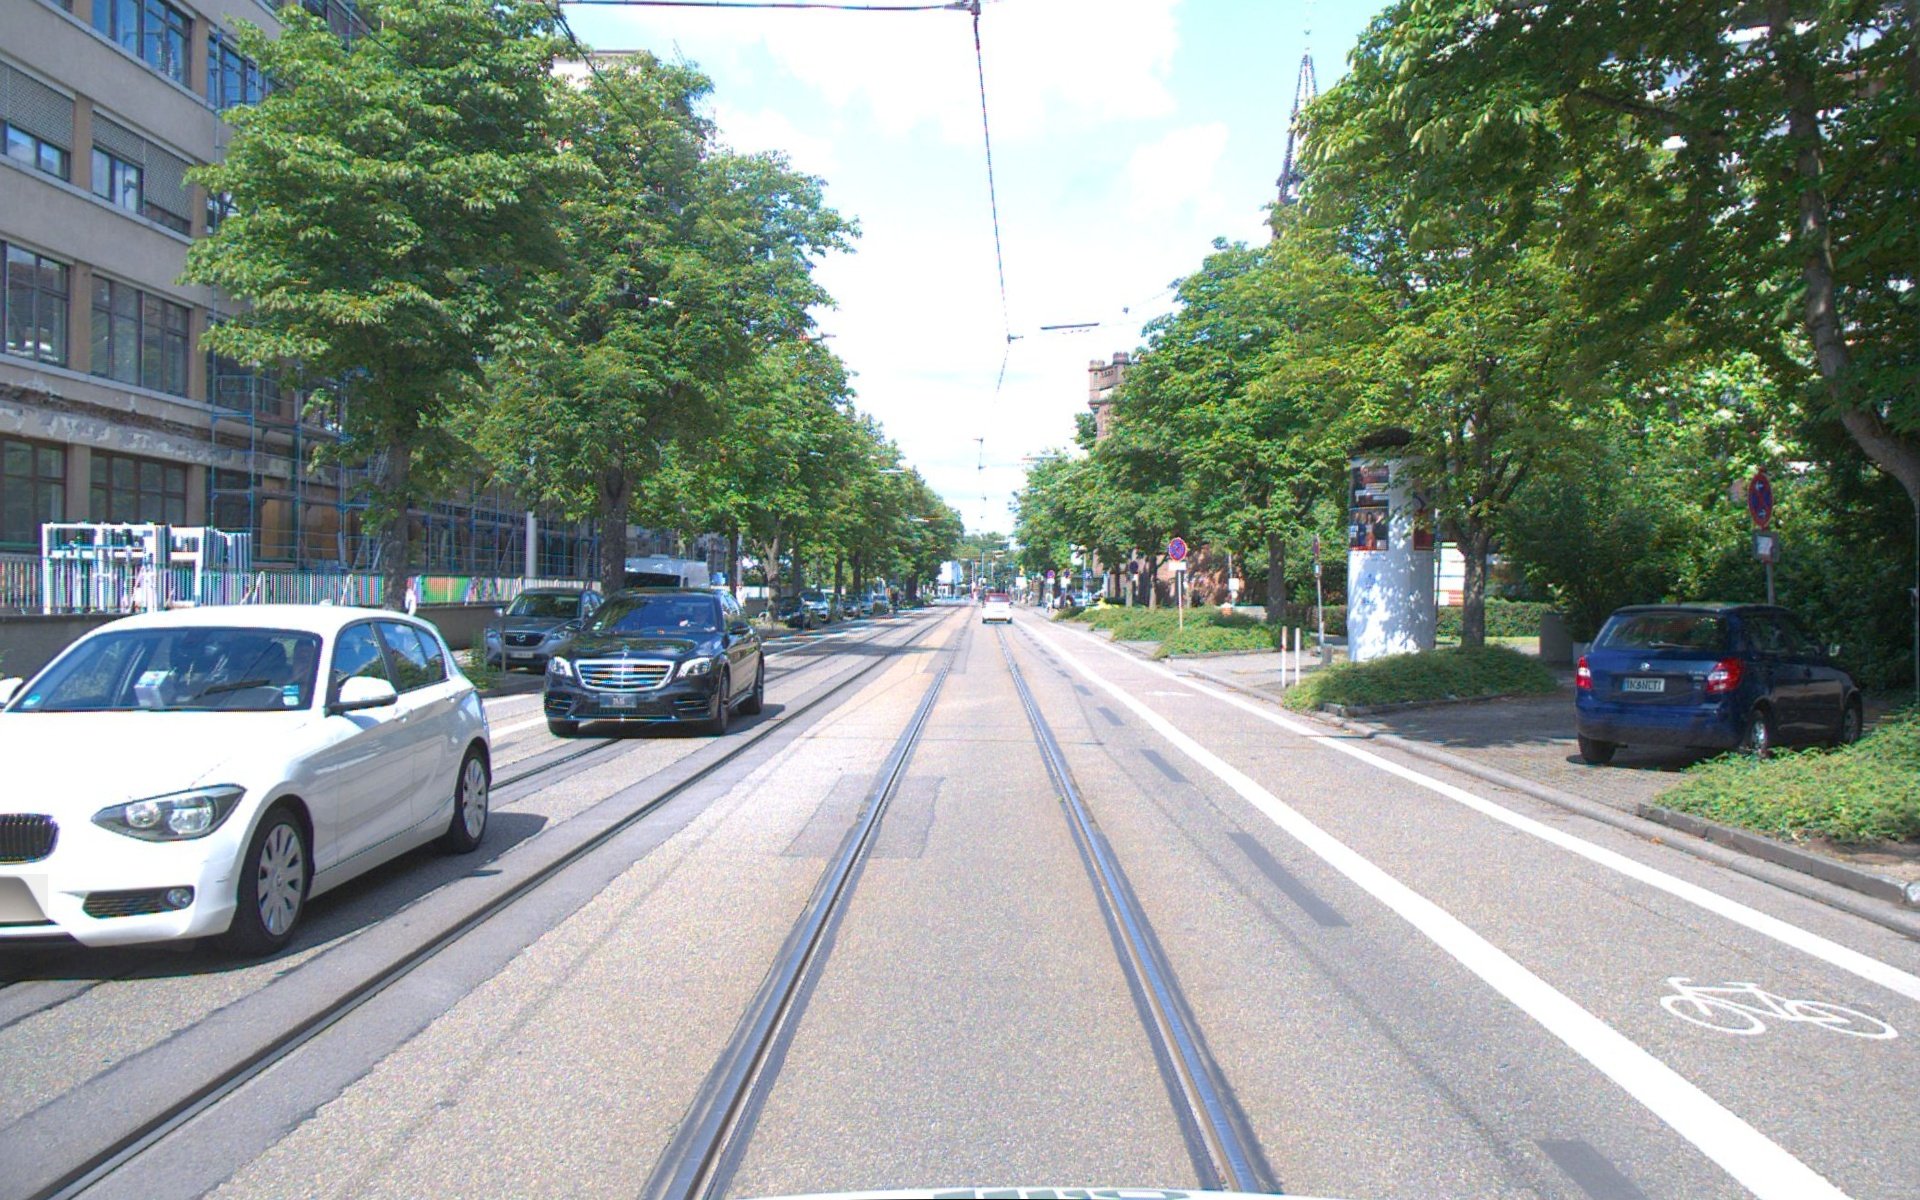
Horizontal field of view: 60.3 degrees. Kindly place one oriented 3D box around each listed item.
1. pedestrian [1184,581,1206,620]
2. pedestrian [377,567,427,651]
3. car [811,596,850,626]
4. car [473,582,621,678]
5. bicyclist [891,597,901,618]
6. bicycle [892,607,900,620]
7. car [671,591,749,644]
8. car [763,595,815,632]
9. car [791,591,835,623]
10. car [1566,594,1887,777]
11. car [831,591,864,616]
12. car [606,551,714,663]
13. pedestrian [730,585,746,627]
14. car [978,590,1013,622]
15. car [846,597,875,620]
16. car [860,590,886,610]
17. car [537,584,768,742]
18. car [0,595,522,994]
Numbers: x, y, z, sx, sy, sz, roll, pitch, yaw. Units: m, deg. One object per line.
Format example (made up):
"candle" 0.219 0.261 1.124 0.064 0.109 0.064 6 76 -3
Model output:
"pedestrian" 12.672 0.015 89.028 0.957 2.049 1.093 2 0 -1
"pedestrian" -11.213 0.179 33.250 0.749 1.648 0.594 2 0 0
"car" -7.154 0.593 91.587 1.767 1.543 4.103 2 0 1
"car" -8.009 0.551 32.423 1.767 1.691 4.103 2 0 1
"bicyclist" -5.001 0.612 129.434 0.645 1.607 0.946 2 0 -1
"bicycle" -4.982 1.061 129.392 0.606 0.990 1.716 1 0 -2
"car" -7.876 0.541 52.508 1.767 1.543 4.103 2 0 1
"car" -7.510 0.568 73.013 1.767 1.543 4.103 2 0 1
"car" -7.415 0.341 83.518 1.767 1.543 4.103 2 0 1
"car" 7.487 0.723 15.969 1.589 1.512 3.972 0 0 44
"car" -7.195 0.208 105.795 1.767 1.543 4.103 1 0 1
"car" -7.734 0.168 43.162 1.733 2.685 5.322 2 0 0
"pedestrian" -10.916 0.310 81.357 0.788 2.049 0.484 1 0 -9
"car" 1.823 0.305 86.635 1.632 1.653 3.619 0 1 -2
"car" -7.094 0.614 118.164 1.767 1.543 4.103 2 0 1
"car" -6.771 -0.031 128.996 1.767 1.543 4.103 1 0 1
"car" -3.334 0.635 18.798 1.763 1.534 4.536 -1 0 0
"car" -3.539 0.723 8.099 1.652 1.430 4.226 -1 0 0
